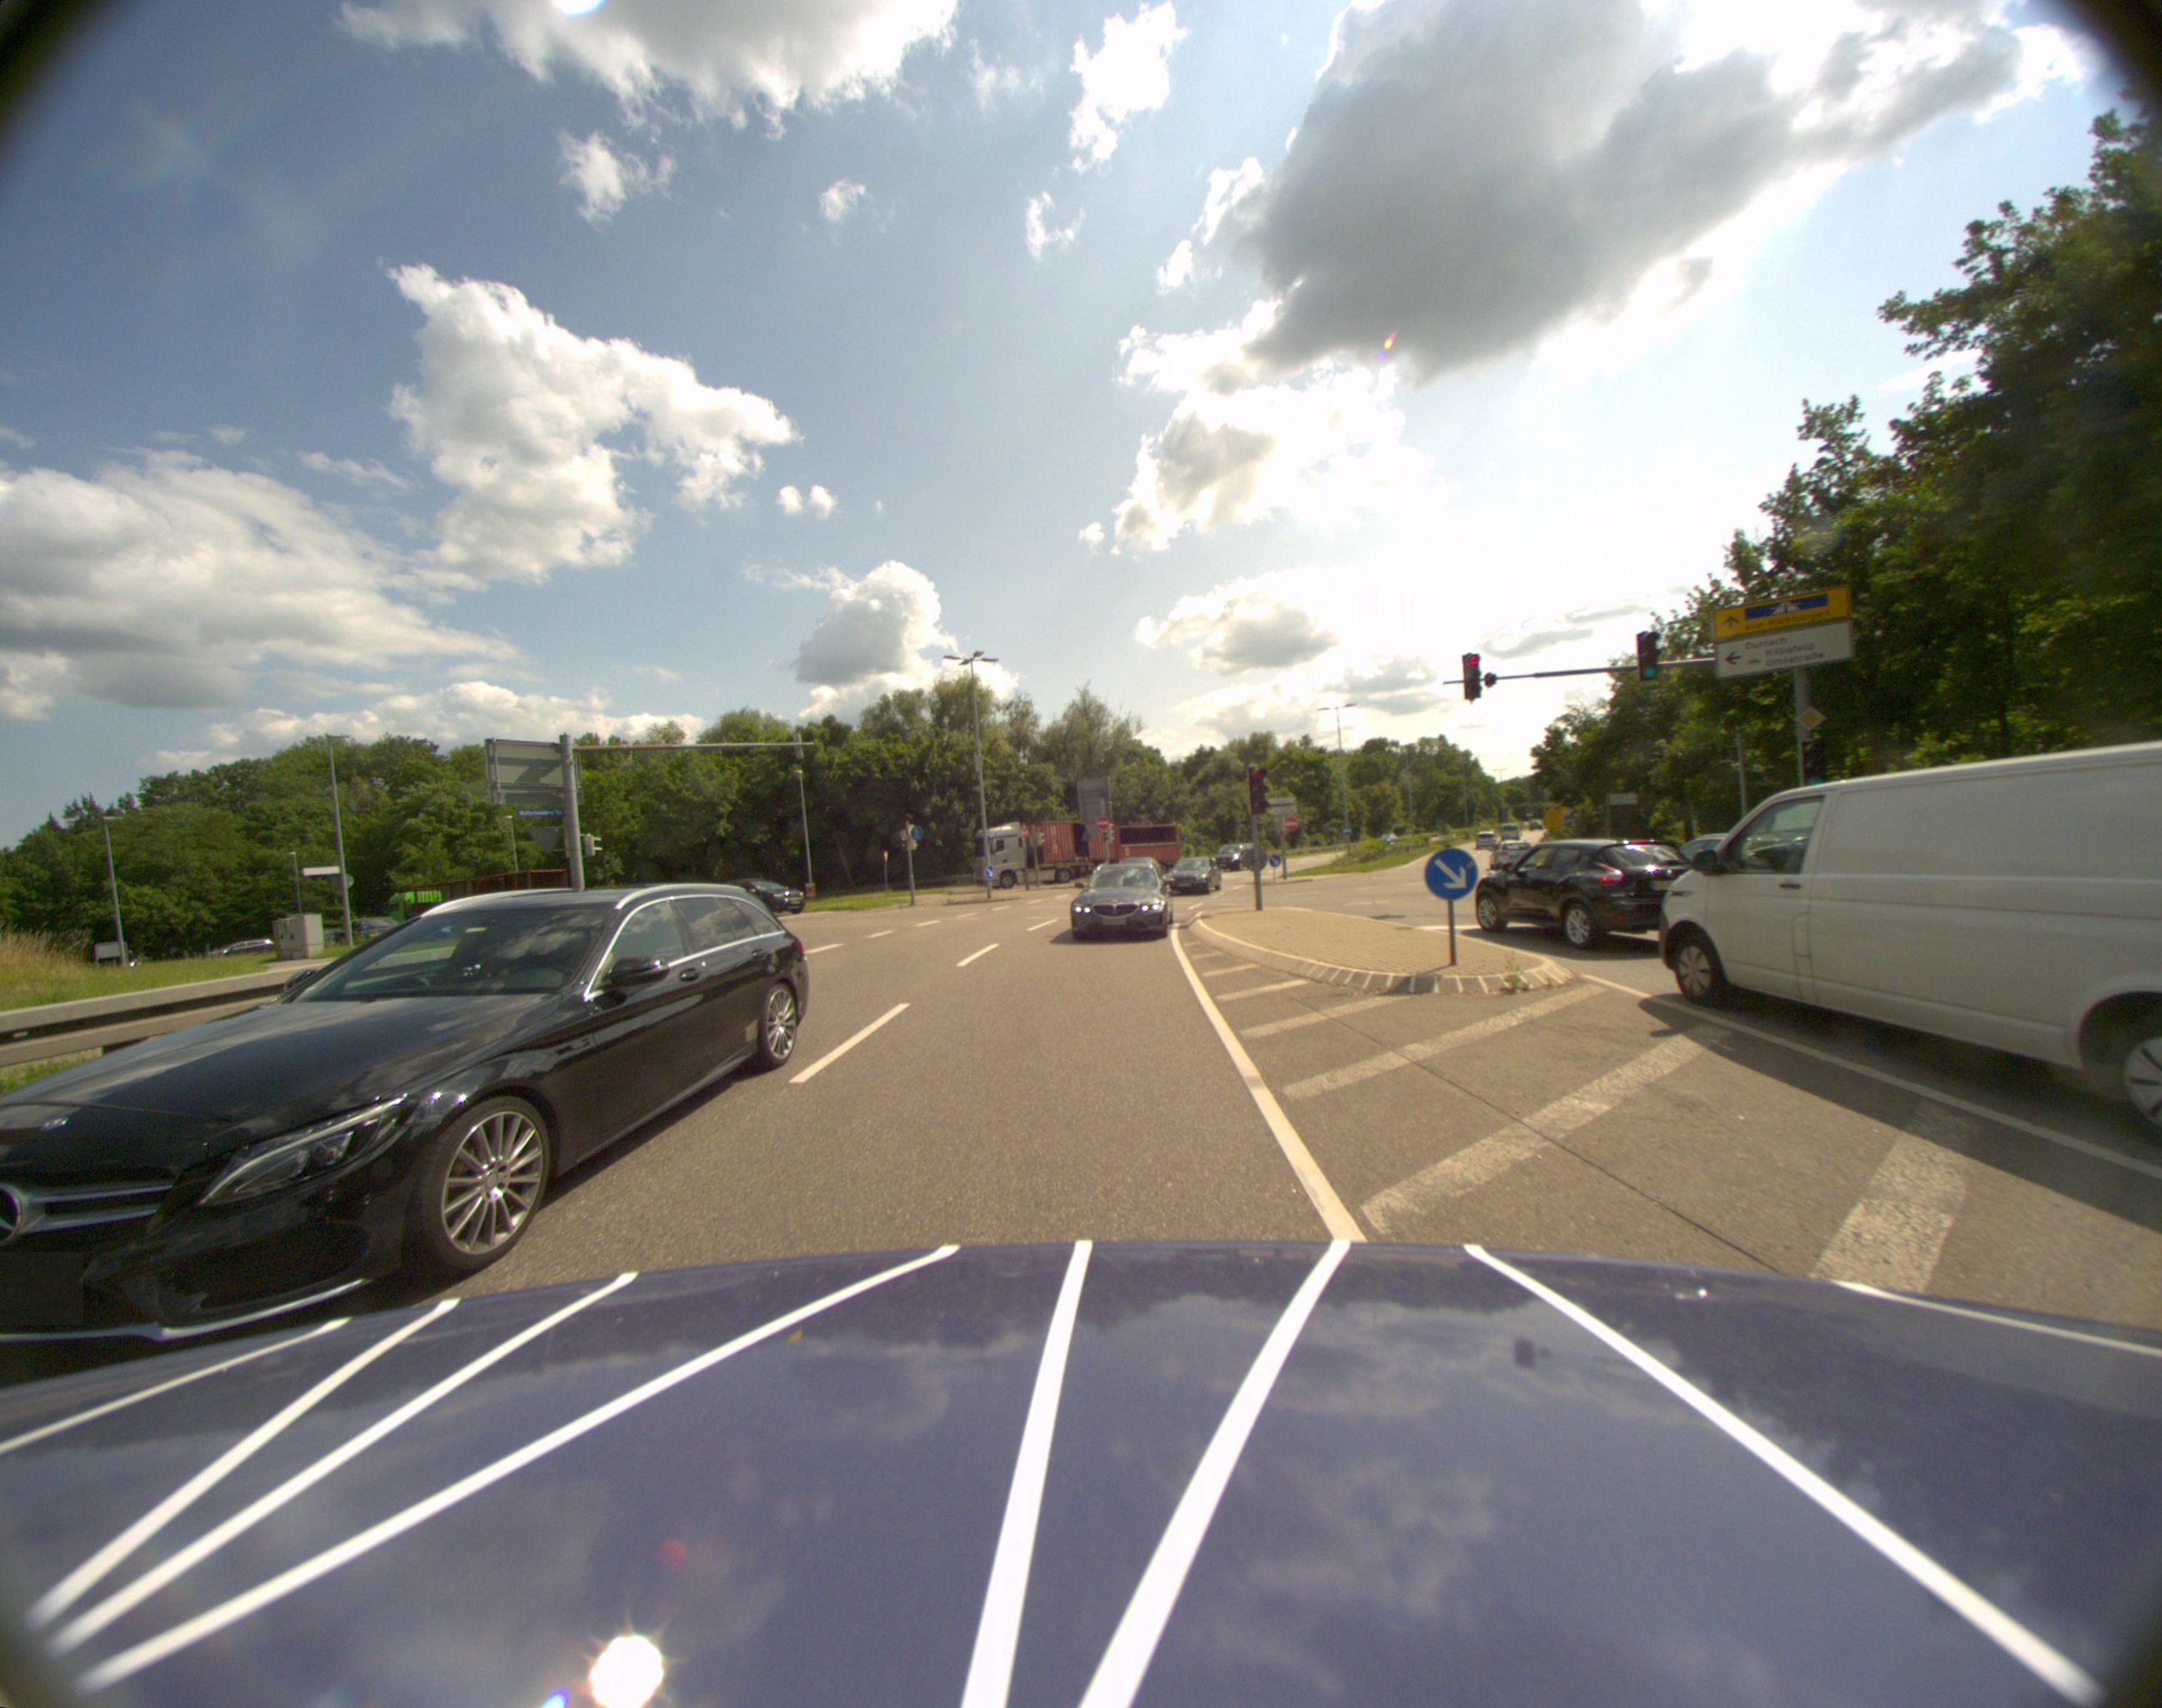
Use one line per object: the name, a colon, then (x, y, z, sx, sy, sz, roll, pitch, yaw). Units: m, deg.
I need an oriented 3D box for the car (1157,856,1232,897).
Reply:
car: (4.662, 0.860, 30.723, 1.855, 1.403, 4.006, -3, 0, 25)

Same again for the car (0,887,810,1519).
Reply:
car: (-3.227, 1.061, 4.201, 1.795, 1.427, 4.369, -3, 1, 0)

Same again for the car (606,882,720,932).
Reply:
car: (-16.105, 2.039, 29.229, 4.206, 1.636, 1.841, -4, -1, 30)

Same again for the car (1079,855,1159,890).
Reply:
car: (1.887, 0.865, 36.768, 1.855, 1.403, 4.007, -3, 0, 37)

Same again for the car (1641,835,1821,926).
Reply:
car: (12.029, 0.417, 14.345, 1.524, 1.475, 3.828, -2, 0, 24)

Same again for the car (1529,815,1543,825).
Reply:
car: (74.626, -5.507, 124.715, 1.711, 1.577, 4.289, 0, 2, 34)

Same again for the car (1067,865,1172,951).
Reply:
car: (0.682, 1.004, 15.701, 1.858, 1.355, 3.999, -2, 1, 0)

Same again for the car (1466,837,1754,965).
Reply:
car: (7.687, 0.593, 11.567, 1.702, 1.548, 3.822, -3, 0, 0)

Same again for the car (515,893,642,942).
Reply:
car: (-16.713, 2.120, 25.233, 4.206, 1.367, 1.762, -4, -1, 30)

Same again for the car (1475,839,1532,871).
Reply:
car: (20.935, 0.006, 37.821, 1.684, 1.469, 4.719, -1, 1, 19)

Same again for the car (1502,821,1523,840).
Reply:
car: (49.872, -2.719, 87.769, 1.994, 2.002, 5.144, 0, 2, 30)

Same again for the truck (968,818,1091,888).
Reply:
truck: (-3.151, -0.076, 47.160, 6.829, 3.822, 2.772, -4, 0, -31)

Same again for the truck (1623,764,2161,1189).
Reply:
truck: (6.018, 0.496, 4.789, 1.964, 1.902, 5.373, -3, 0, 9)

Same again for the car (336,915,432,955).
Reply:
car: (-31.054, 3.621, 33.866, 3.991, 1.455, 1.870, -5, 1, 29)

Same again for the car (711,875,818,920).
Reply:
car: (-13.550, 1.865, 32.460, 4.285, 1.607, 1.848, -4, 1, 30)

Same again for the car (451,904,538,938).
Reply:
car: (-27.664, 3.168, 35.812, 4.206, 1.367, 1.704, -4, -1, 30)

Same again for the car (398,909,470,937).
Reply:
car: (-38.077, 4.053, 44.682, 4.040, 1.367, 1.884, -4, -1, 30)

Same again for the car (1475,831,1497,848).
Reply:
car: (37.682, -1.329, 70.645, 1.734, 1.512, 4.075, -1, 1, 28)

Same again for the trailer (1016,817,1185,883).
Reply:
trailer: (1.628, -0.392, 51.300, 12.342, 3.827, 2.773, -4, 0, -39)

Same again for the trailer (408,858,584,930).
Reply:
trailer: (-40.449, 2.800, 52.378, 13.819, 3.868, 2.651, -5, 0, 21)

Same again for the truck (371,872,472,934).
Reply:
truck: (-47.884, 3.559, 55.181, 5.865, 3.880, 2.882, -5, 0, 22)
